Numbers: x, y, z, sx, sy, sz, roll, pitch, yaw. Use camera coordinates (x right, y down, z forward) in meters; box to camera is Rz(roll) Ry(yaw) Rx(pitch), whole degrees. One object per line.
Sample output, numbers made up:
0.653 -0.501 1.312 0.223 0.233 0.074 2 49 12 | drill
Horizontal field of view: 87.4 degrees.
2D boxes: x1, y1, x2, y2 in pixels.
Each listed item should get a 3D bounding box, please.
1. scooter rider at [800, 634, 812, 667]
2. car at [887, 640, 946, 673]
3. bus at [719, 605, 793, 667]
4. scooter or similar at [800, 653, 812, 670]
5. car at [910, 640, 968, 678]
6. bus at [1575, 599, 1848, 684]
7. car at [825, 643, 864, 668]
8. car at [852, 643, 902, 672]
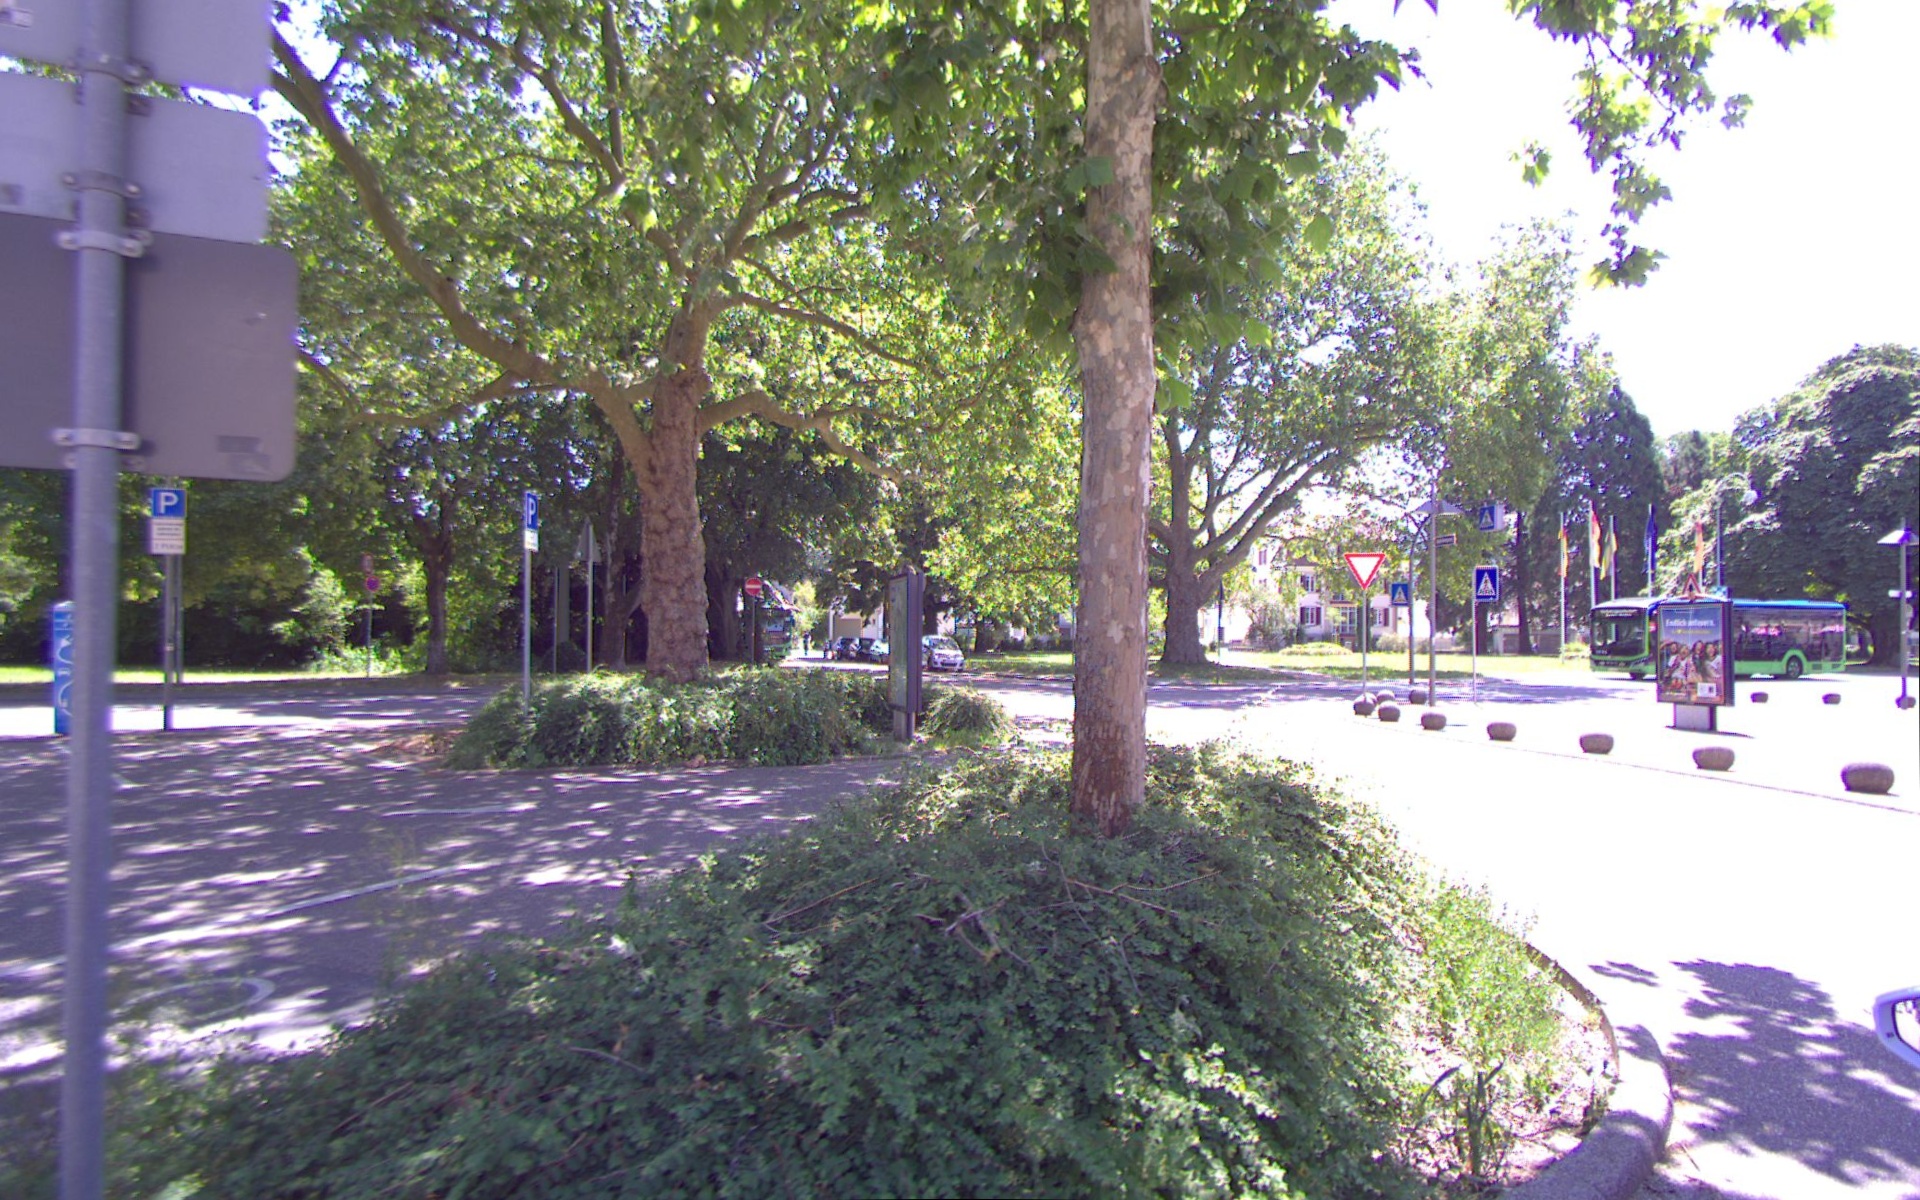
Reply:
-11.260 3.695 73.490 0.729 2.348 0.924 1 -2 -16 | scooter rider
-2.162 2.709 48.501 1.728 1.458 4.487 2 -3 -17 | car
-12.767 2.240 61.642 2.831 3.338 15.894 1 -2 -17 | bus
-11.264 4.492 73.456 0.729 1.198 1.514 1 -2 -16 | scooter or similar
-0.961 2.503 43.245 1.575 1.516 3.473 2 -3 -17 | car
31.990 1.753 42.642 12.229 3.326 2.807 1 -2 -19 | bus
-7.286 3.469 63.039 1.732 1.512 3.903 1 -2 -18 | car
-4.563 3.093 54.500 1.728 1.458 4.753 1 -2 -17 | car
